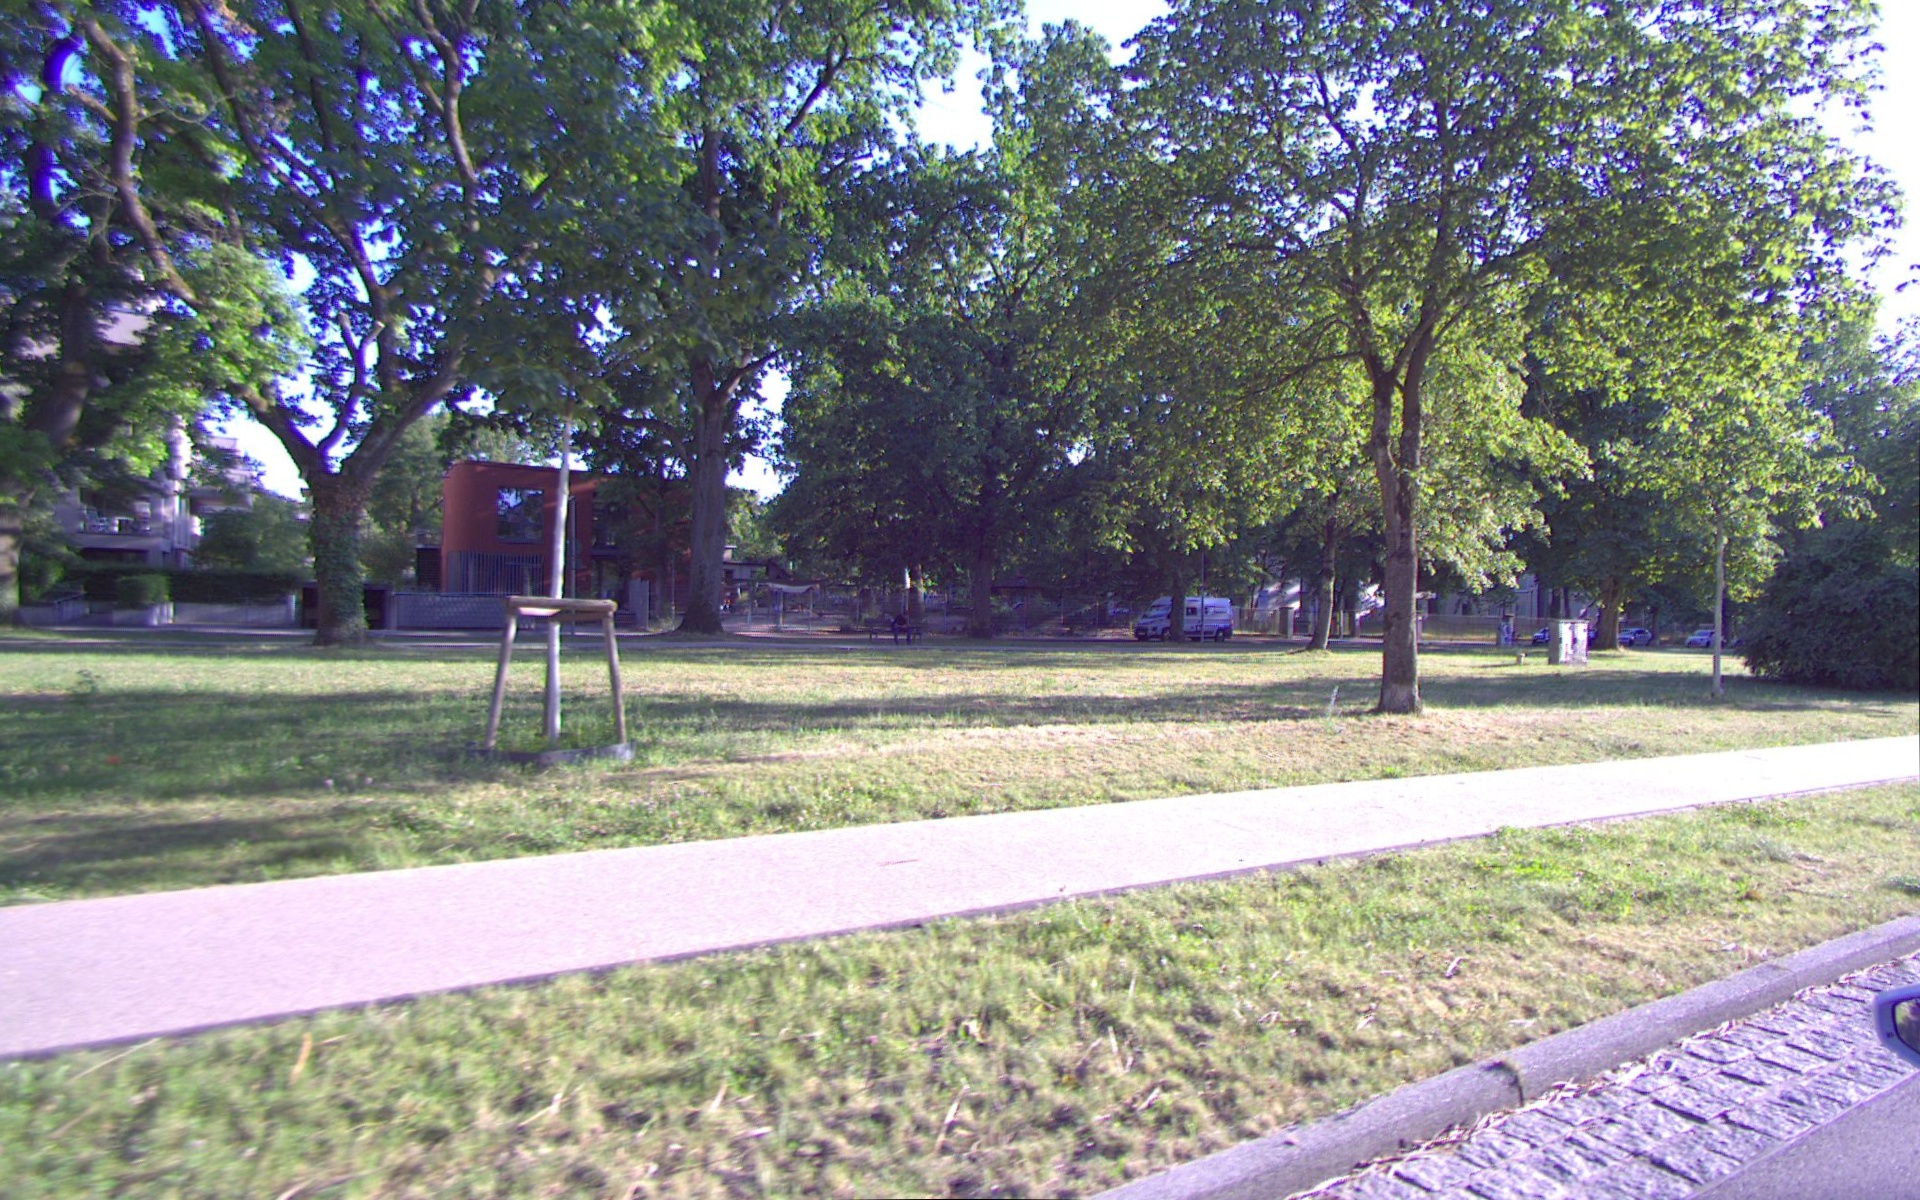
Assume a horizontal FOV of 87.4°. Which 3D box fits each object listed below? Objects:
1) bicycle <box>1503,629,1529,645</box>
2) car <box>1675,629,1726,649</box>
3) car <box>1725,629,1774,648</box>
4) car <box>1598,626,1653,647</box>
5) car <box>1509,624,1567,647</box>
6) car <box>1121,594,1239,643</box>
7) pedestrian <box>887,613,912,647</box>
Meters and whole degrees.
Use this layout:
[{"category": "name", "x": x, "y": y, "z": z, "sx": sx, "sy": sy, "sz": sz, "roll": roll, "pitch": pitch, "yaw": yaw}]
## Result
[{"category": "bicycle", "x": 41.176, "y": 2.745, "z": 74.380, "sx": 2.309, "sy": 1.191, "sz": 0.653, "roll": 3, "pitch": -1, "yaw": -33}, {"category": "car", "x": 62.301, "y": 3.268, "z": 84.544, "sx": 4.066, "sy": 1.528, "sz": 1.985, "roll": 2, "pitch": -1, "yaw": -29}, {"category": "car", "x": 69.942, "y": 3.410, "z": 88.988, "sx": 4.066, "sy": 1.528, "sz": 1.985, "roll": 2, "pitch": -1, "yaw": -29}, {"category": "car", "x": 52.055, "y": 2.833, "z": 78.592, "sx": 4.066, "sy": 1.528, "sz": 1.985, "roll": 2, "pitch": -1, "yaw": -29}, {"category": "car", "x": 42.815, "y": 2.631, "z": 74.340, "sx": 3.952, "sy": 1.528, "sz": 1.985, "roll": 2, "pitch": -1, "yaw": -29}, {"category": "car", "x": 12.158, "y": 1.039, "z": 55.383, "sx": 6.247, "sy": 2.496, "sz": 2.706, "roll": 2, "pitch": -1, "yaw": -31}, {"category": "pedestrian", "x": -1.845, "y": 0.911, "z": 30.686, "sx": 0.601, "sy": 1.000, "sz": 0.547, "roll": 2, "pitch": -1, "yaw": -19}]
